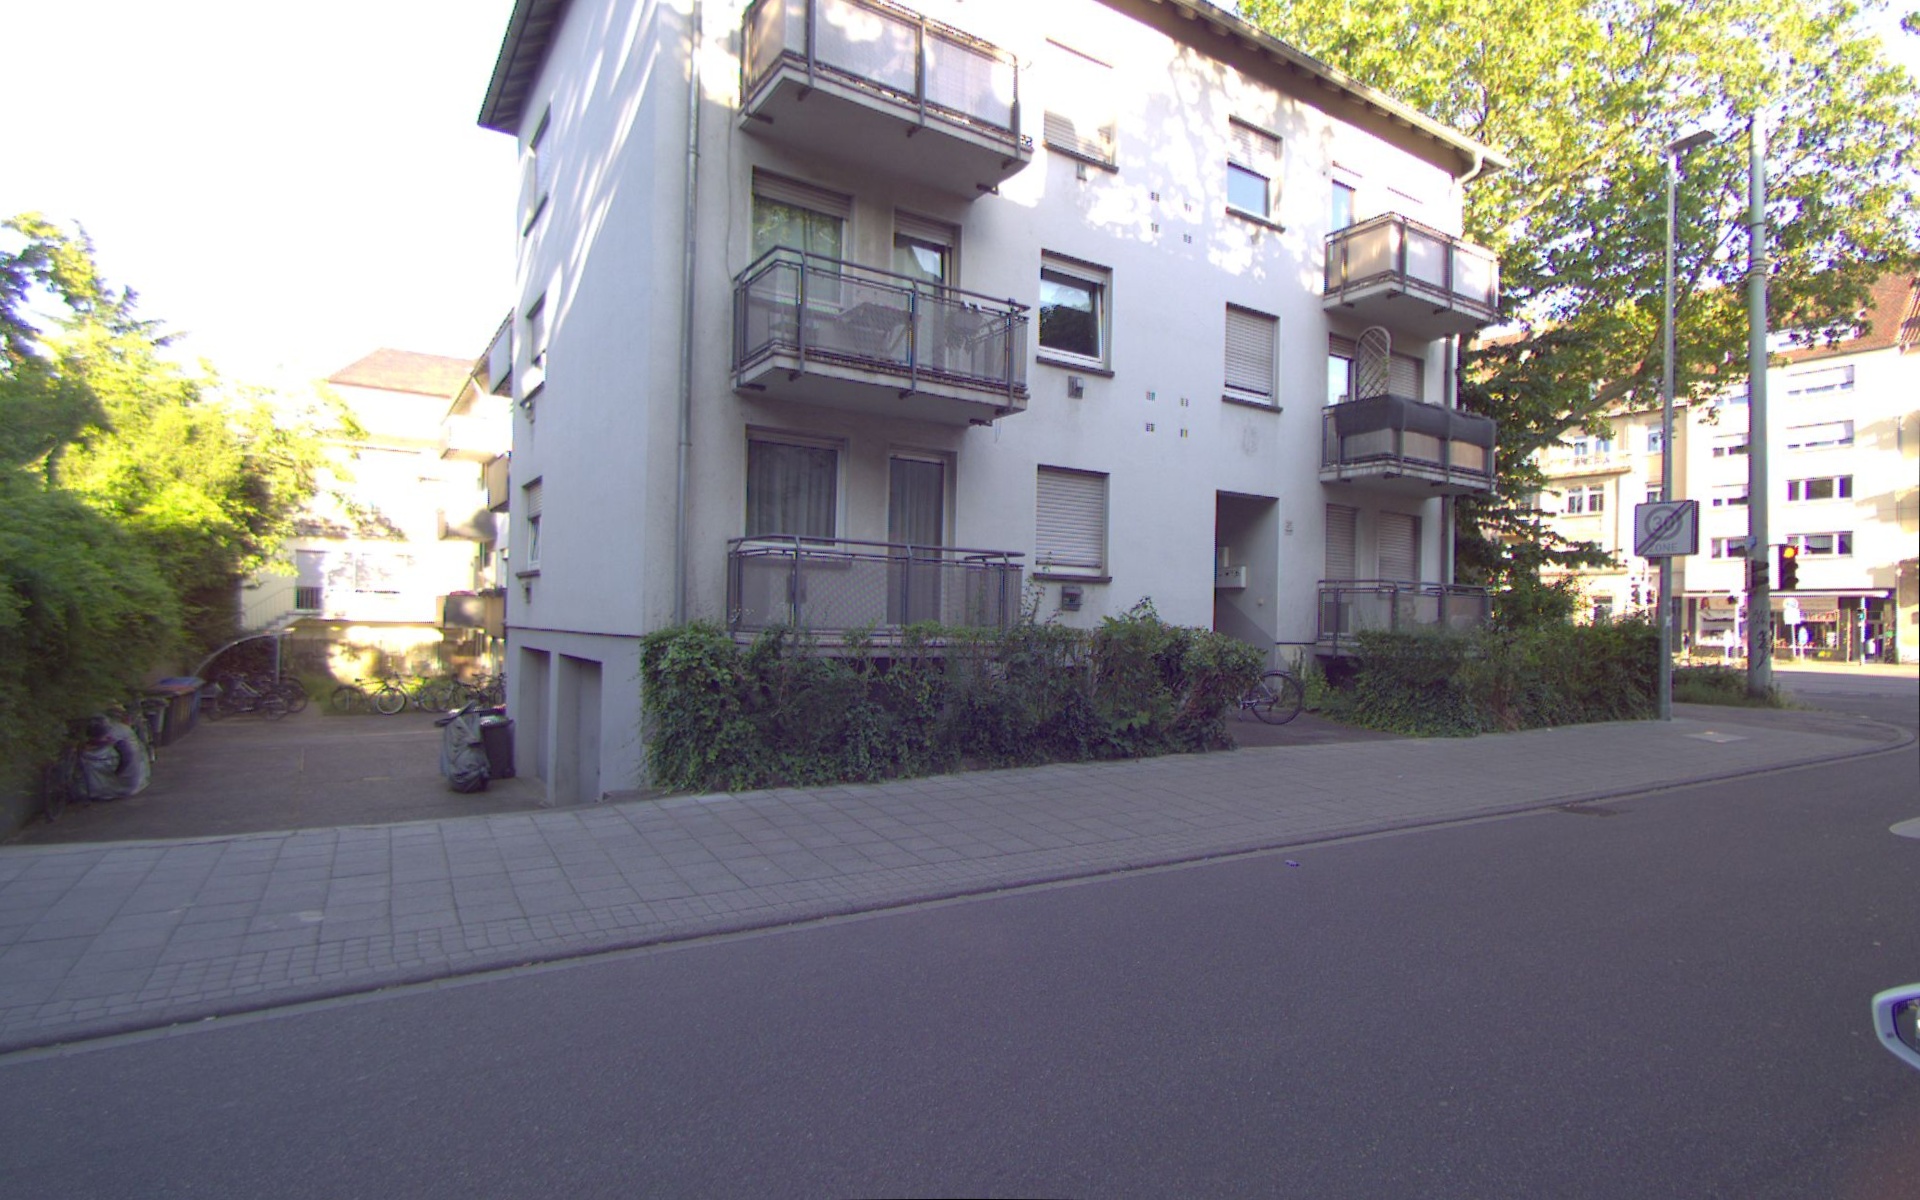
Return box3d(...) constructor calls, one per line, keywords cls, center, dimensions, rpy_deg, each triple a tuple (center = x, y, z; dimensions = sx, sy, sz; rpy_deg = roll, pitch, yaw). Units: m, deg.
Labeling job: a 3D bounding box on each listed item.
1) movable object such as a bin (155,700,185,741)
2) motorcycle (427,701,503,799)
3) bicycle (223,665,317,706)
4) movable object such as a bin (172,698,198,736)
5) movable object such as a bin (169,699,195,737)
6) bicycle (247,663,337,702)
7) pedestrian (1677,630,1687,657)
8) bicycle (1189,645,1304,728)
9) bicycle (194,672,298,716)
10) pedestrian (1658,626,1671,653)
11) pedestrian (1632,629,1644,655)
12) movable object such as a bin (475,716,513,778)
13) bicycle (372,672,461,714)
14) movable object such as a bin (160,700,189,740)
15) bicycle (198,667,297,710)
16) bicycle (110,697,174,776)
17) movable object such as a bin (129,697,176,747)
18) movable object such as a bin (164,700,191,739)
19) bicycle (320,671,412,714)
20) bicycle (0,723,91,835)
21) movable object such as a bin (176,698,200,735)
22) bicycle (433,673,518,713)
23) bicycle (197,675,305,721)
box3d(cls="movable object such as a bin", center=(-15.657, 2.389, 19.916), dimensions=(0.393, 0.784, 0.361), rpy_deg=(2, -4, -30))
box3d(cls="motorcycle", center=(-7.412, 2.194, 15.012), dimensions=(0.751, 1.268, 1.577), rpy_deg=(1, -2, -36))
box3d(cls="bicycle", center=(-18.998, 2.359, 27.725), dimensions=(2.045, 1.034, 0.611), rpy_deg=(4, 0, -30))
box3d(cls="movable object such as a bin", center=(-16.412, 2.471, 21.277), dimensions=(0.362, 0.768, 0.361), rpy_deg=(2, -4, -30))
box3d(cls="movable object such as a bin", center=(-16.219, 2.454, 20.936), dimensions=(0.362, 0.768, 0.361), rpy_deg=(2, -4, -30))
box3d(cls="bicycle", center=(-18.996, 2.363, 28.614), dimensions=(2.045, 1.034, 0.564), rpy_deg=(4, 0, -30))
box3d(cls="pedestrian", center=(41.786, 2.508, 58.122), dimensions=(0.467, 1.531, 0.429), rpy_deg=(0, -1, 41))
box3d(cls="bicycle", center=(3.874, 1.151, 13.609), dimensions=(1.433, 0.988, 0.407), rpy_deg=(3, 0, 21))
box3d(cls="bicycle", center=(-18.038, 2.376, 25.420), dimensions=(2.045, 1.034, 0.568), rpy_deg=(4, 0, -30))
box3d(cls="pedestrian", center=(40.587, 2.260, 57.830), dimensions=(0.558, 1.531, 0.499), rpy_deg=(0, -1, 41))
box3d(cls="pedestrian", center=(40.781, 2.523, 60.402), dimensions=(0.529, 1.531, 0.507), rpy_deg=(0, -1, 41))
box3d(cls="movable object such as a bin", center=(-7.509, 2.358, 16.176), dimensions=(0.428, 0.899, 0.720), rpy_deg=(1, -2, -34))
box3d(cls="bicycle", center=(-14.707, 2.519, 27.211), dimensions=(2.045, 1.034, 0.637), rpy_deg=(4, 0, -30))
box3d(cls="movable object such as a bin", center=(-15.841, 2.418, 20.259), dimensions=(0.377, 0.784, 0.361), rpy_deg=(2, -4, -30))
box3d(cls="bicycle", center=(-18.870, 2.357, 26.646), dimensions=(2.045, 1.034, 0.611), rpy_deg=(4, 0, -30))
box3d(cls="bicycle", center=(-13.230, 2.178, 16.286), dimensions=(0.509, 1.033, 1.922), rpy_deg=(3, -1, -32))
box3d(cls="movable object such as a bin", center=(-14.960, 2.250, 18.613), dimensions=(0.570, 0.891, 0.491), rpy_deg=(2, -4, -30))
box3d(cls="movable object such as a bin", center=(-16.032, 2.435, 20.587), dimensions=(0.371, 0.768, 0.361), rpy_deg=(2, -4, -30))
box3d(cls="bicycle", center=(-15.703, 2.453, 26.605), dimensions=(2.045, 1.034, 0.637), rpy_deg=(4, 0, -30))
box3d(cls="bicycle", center=(-11.005, 2.095, 12.060), dimensions=(0.509, 1.033, 1.922), rpy_deg=(3, -1, -32))
box3d(cls="movable object such as a bin", center=(-16.613, 2.499, 21.614), dimensions=(0.342, 0.768, 0.361), rpy_deg=(2, -4, -30))
box3d(cls="bicycle", center=(-13.471, 2.596, 27.935), dimensions=(2.045, 1.034, 0.637), rpy_deg=(4, 0, -30))
box3d(cls="bicycle", center=(-17.286, 2.394, 24.542), dimensions=(2.045, 1.034, 0.637), rpy_deg=(4, 0, -30))
